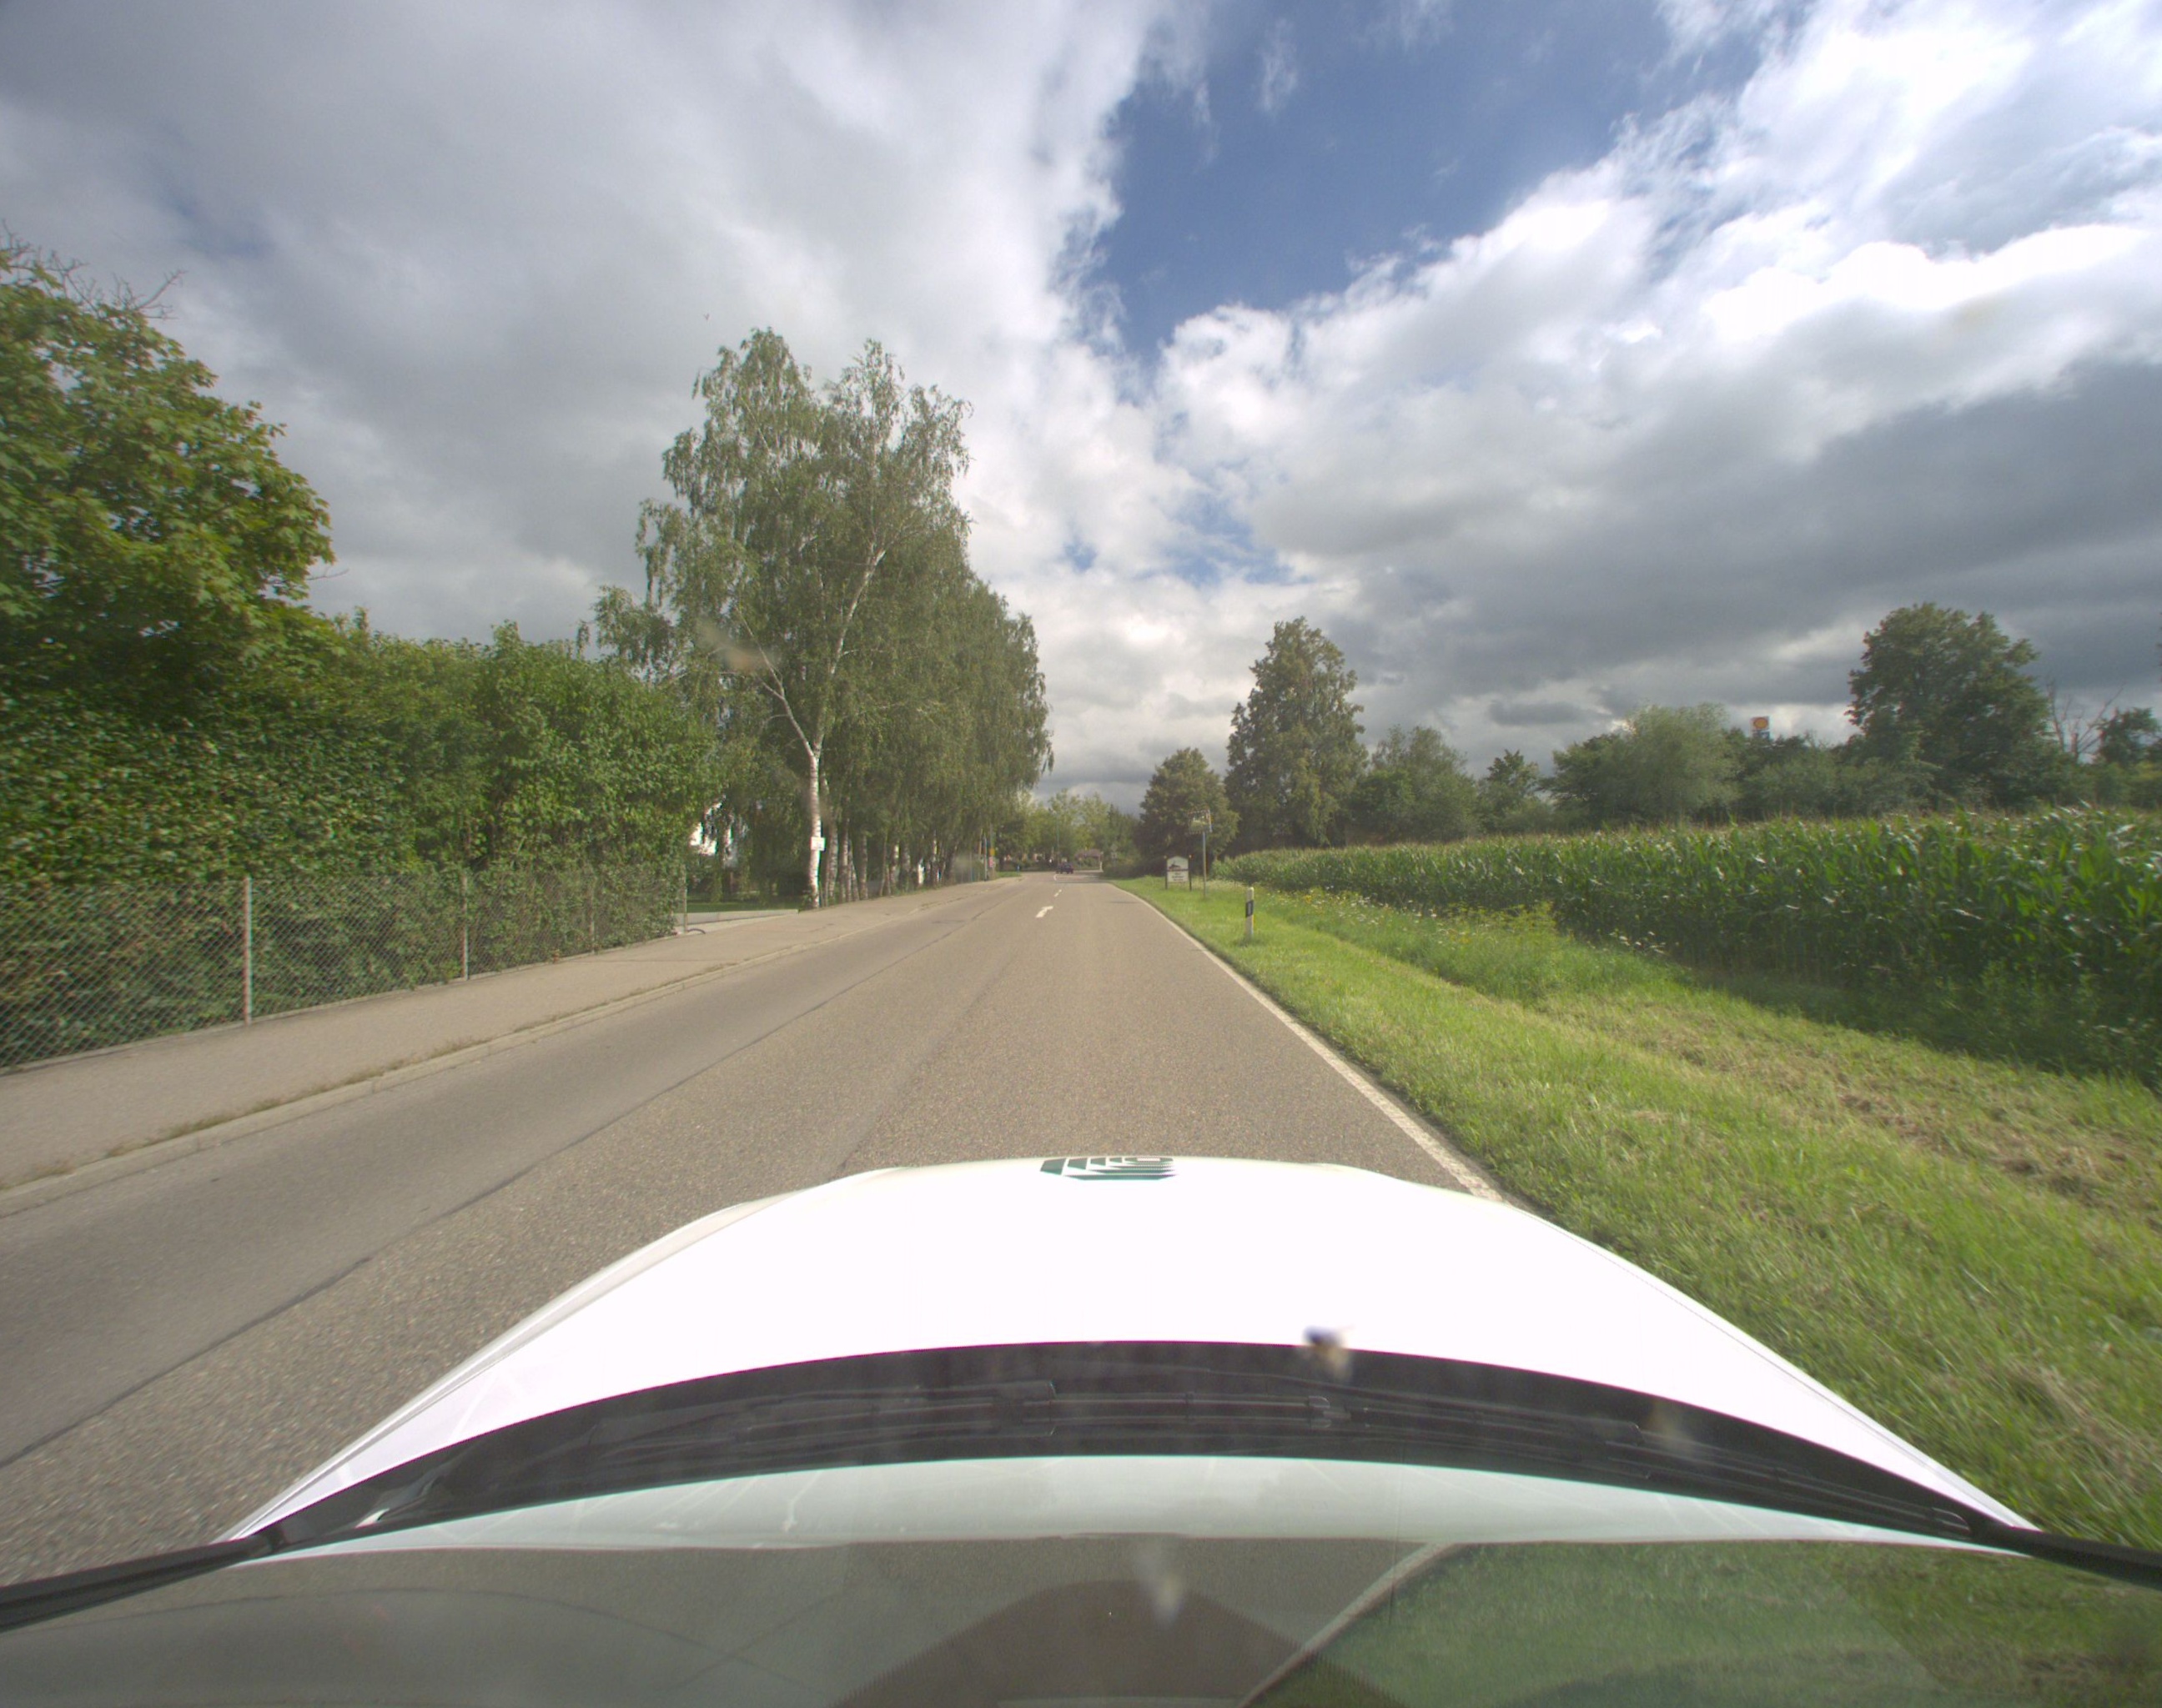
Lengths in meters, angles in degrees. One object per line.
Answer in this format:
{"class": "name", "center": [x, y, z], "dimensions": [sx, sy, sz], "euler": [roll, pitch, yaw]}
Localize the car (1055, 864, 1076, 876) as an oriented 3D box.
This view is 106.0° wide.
{"class": "car", "center": [-2.288, 2.327, 118.527], "dimensions": [1.998, 1.585, 3.978], "euler": [-1, 0, -16]}
